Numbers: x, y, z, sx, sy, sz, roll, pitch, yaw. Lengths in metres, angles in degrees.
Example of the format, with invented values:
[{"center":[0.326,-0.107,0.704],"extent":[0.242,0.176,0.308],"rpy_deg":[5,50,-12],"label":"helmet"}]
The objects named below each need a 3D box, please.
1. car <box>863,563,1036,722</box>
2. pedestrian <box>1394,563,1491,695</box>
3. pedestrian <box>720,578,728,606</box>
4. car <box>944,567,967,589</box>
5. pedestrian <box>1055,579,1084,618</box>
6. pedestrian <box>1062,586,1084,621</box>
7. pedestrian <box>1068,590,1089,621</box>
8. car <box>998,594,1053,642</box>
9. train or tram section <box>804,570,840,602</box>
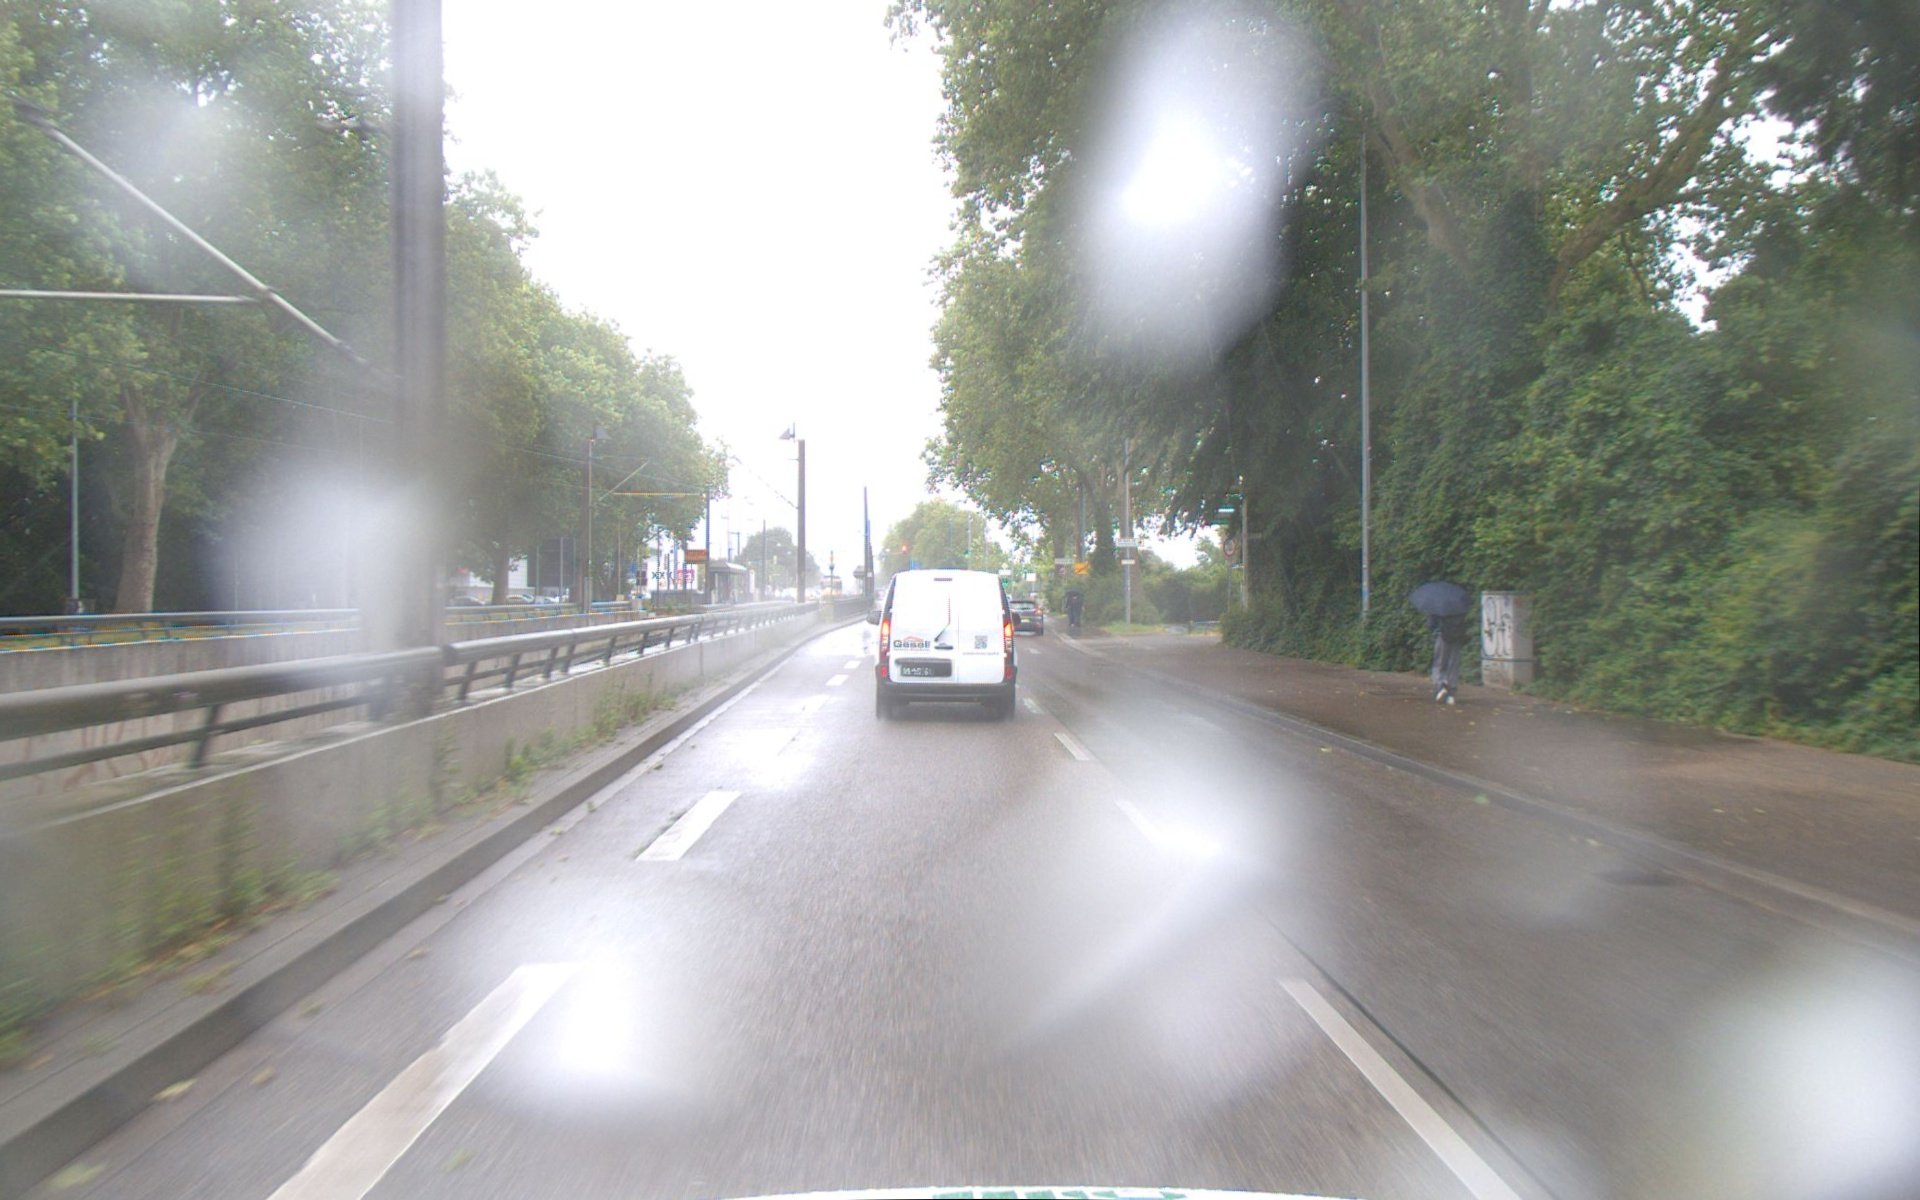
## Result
[{"center":[-0.226,0.491,21.523],"extent":[1.984,1.806,4.271],"rpy_deg":[2,0,-3],"label":"car"},{"center":[6.553,0.379,22.495],"extent":[0.947,1.732,1.140],"rpy_deg":[-1,0,-2],"label":"pedestrian"},{"center":[-17.668,-0.586,123.728],"extent":[0.484,2.049,0.580],"rpy_deg":[2,0,-13],"label":"pedestrian"},{"center":[-0.404,-1.899,143.740],"extent":[1.953,1.780,3.999],"rpy_deg":[2,0,-1],"label":"car"},{"center":[5.290,-0.083,79.988],"extent":[1.215,1.816,1.147],"rpy_deg":[-4,0,0],"label":"pedestrian"},{"center":[5.319,0.165,78.062],"extent":[0.927,1.617,1.294],"rpy_deg":[-1,0,0],"label":"pedestrian"},{"center":[5.430,0.253,76.014],"extent":[0.874,1.414,1.016],"rpy_deg":[-2,0,0],"label":"pedestrian"},{"center":[2.548,0.680,65.226],"extent":[1.953,1.780,4.000],"rpy_deg":[2,0,0],"label":"car"},{"center":[-19.266,-1.859,232.528],"extent":[3.695,4.107,27.080],"rpy_deg":[2,0,-2],"label":"train or tram section"}]
